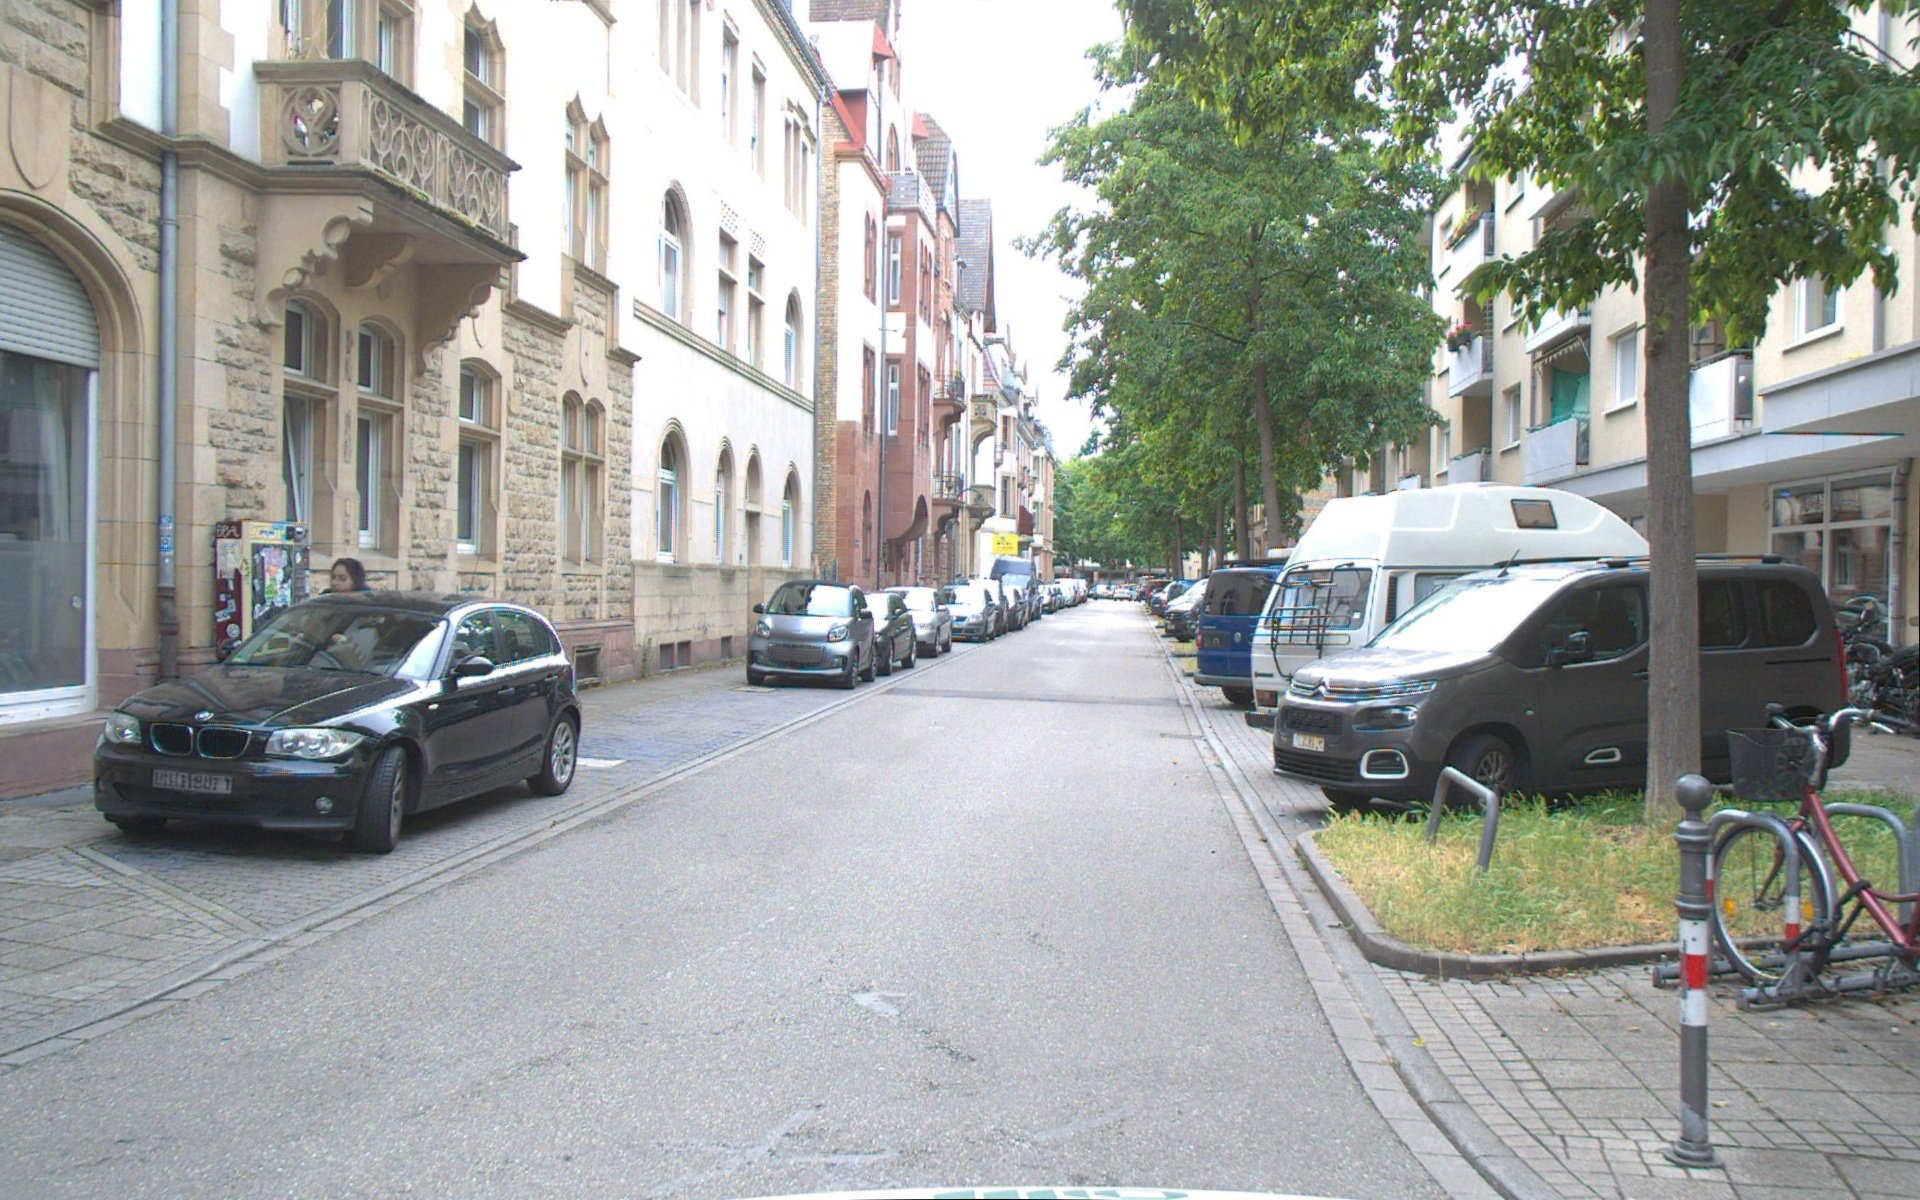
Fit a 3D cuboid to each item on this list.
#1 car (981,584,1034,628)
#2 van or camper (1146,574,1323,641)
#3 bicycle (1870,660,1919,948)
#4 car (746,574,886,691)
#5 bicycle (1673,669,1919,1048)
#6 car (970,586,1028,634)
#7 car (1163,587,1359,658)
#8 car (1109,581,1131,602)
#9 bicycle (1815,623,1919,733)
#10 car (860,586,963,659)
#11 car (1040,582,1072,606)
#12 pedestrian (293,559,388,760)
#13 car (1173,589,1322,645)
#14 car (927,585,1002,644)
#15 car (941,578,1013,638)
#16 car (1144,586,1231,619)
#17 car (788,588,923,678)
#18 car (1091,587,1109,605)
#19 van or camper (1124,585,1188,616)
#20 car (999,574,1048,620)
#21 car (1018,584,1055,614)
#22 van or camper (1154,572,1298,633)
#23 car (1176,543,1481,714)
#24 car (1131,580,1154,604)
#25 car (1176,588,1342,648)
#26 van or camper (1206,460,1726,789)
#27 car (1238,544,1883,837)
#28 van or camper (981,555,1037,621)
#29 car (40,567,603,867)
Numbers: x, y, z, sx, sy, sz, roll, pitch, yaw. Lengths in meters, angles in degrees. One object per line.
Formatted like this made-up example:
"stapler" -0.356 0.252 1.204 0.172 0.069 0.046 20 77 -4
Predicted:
"car" 1.804 0.238 61.519 1.632 1.498 4.002 2 0 6
"van or camper" 8.328 0.199 50.194 4.936 1.902 2.113 -1 0 -22
"bicycle" 4.422 0.851 6.393 0.539 1.194 1.721 0 -1 -15
"car" -2.168 0.452 25.570 1.612 1.598 2.959 2 2 5
"bicycle" 3.312 0.870 5.799 0.539 1.194 1.721 0 -1 -15
"car" 1.354 0.316 56.387 1.600 1.498 4.003 2 1 6
"car" 7.082 0.502 38.999 4.154 1.527 1.963 -1 0 -22
"car" 15.187 -0.790 157.126 1.952 1.825 4.002 2 0 5
"bicycle" 9.891 0.820 18.032 0.474 1.109 1.702 1 0 8
"car" -1.006 0.448 36.428 1.690 1.410 4.140 2 1 6
"car" 6.444 -0.420 110.589 1.951 1.501 4.003 1 1 6
"pedestrian" -4.876 0.457 13.041 0.504 1.545 0.547 1 0 6
"car" 8.207 0.459 47.209 3.797 1.528 1.899 -1 0 -24
"car" 0.160 0.364 45.072 1.627 1.445 3.932 2 1 6
"car" 0.570 0.195 50.363 1.748 1.675 4.365 2 1 6
"car" 11.420 0.144 83.141 3.959 1.586 1.870 1 0 -25
"car" -1.772 0.559 29.307 1.689 1.411 3.931 2 0 6
"car" 14.598 -0.405 172.608 1.782 1.673 3.756 2 0 5
"van or camper" 13.852 0.026 116.888 4.089 2.122 1.940 1 0 -22
"car" 2.994 -0.172 77.047 1.951 2.049 4.894 1 1 6
"car" 4.074 -0.086 87.472 1.752 1.506 4.025 2 1 5
"van or camper" 9.448 0.088 58.760 4.659 2.029 1.988 -1 -1 -20
"car" 5.367 0.369 23.868 4.354 2.235 2.039 0 1 -39
"car" 16.924 -0.750 153.455 1.952 2.048 4.003 4 1 5
"car" 8.025 0.463 44.475 3.980 1.509 1.936 -1 0 -20
"van or camper" 4.672 0.203 15.190 4.526 2.641 1.895 1 0 -27
"car" 4.412 0.591 12.258 4.266 1.886 1.901 1 0 -19
"van or camper" 2.128 -0.534 70.202 1.965 2.698 5.320 1 1 6
"car" -3.849 0.633 10.806 1.673 1.520 4.003 2 0 7
